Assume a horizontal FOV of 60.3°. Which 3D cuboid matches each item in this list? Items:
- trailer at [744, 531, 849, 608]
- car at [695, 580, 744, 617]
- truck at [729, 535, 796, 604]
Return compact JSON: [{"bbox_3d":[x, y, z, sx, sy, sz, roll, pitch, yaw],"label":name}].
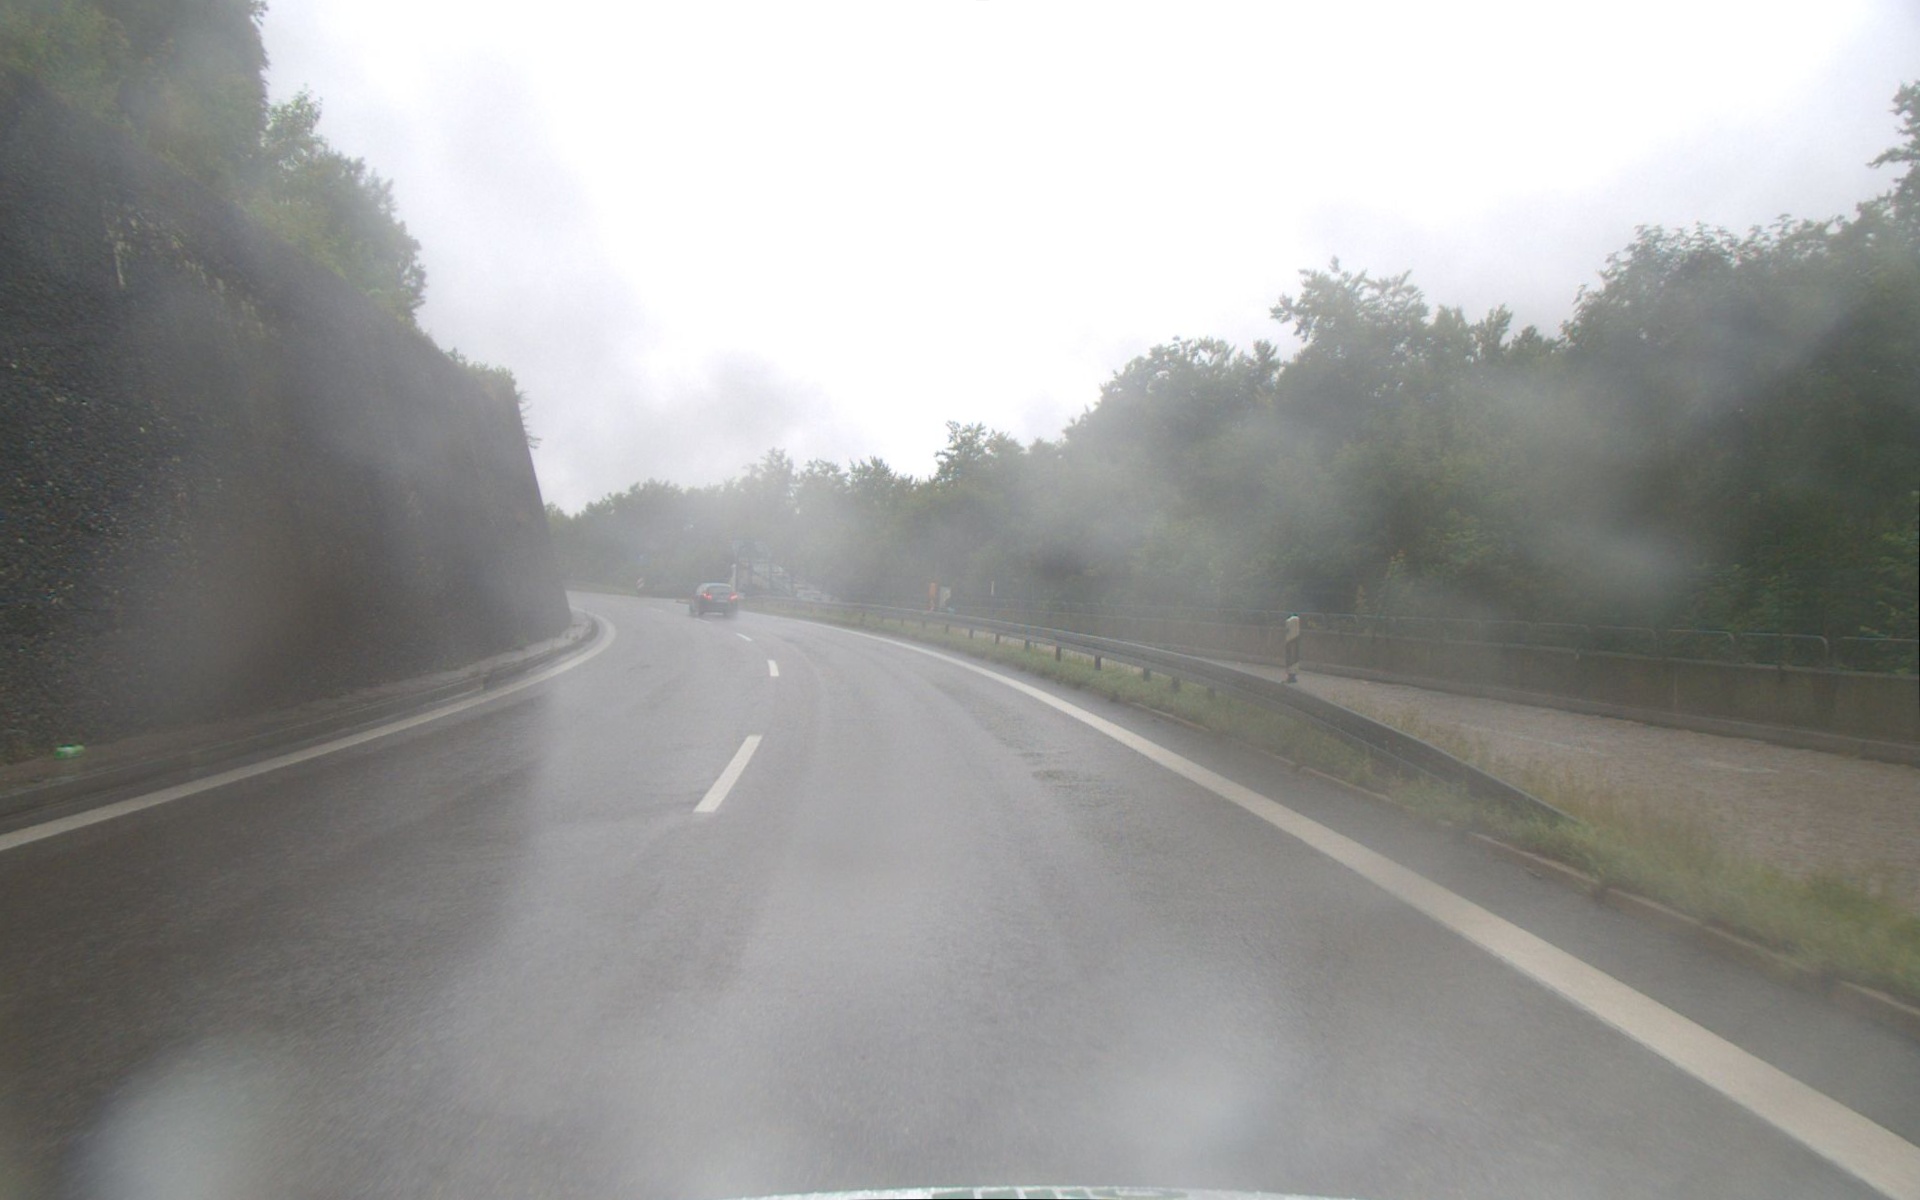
[{"bbox_3d":[-10.230,-1.843,101.287,2.849,4.319,14.613,2,0,-20],"label":"trailer"},{"bbox_3d":[-11.021,-0.088,75.717,1.871,1.525,3.988,3,0,-12],"label":"car"},{"bbox_3d":[-13.113,-1.978,109.316,2.854,4.319,6.841,2,0,-20],"label":"truck"}]
